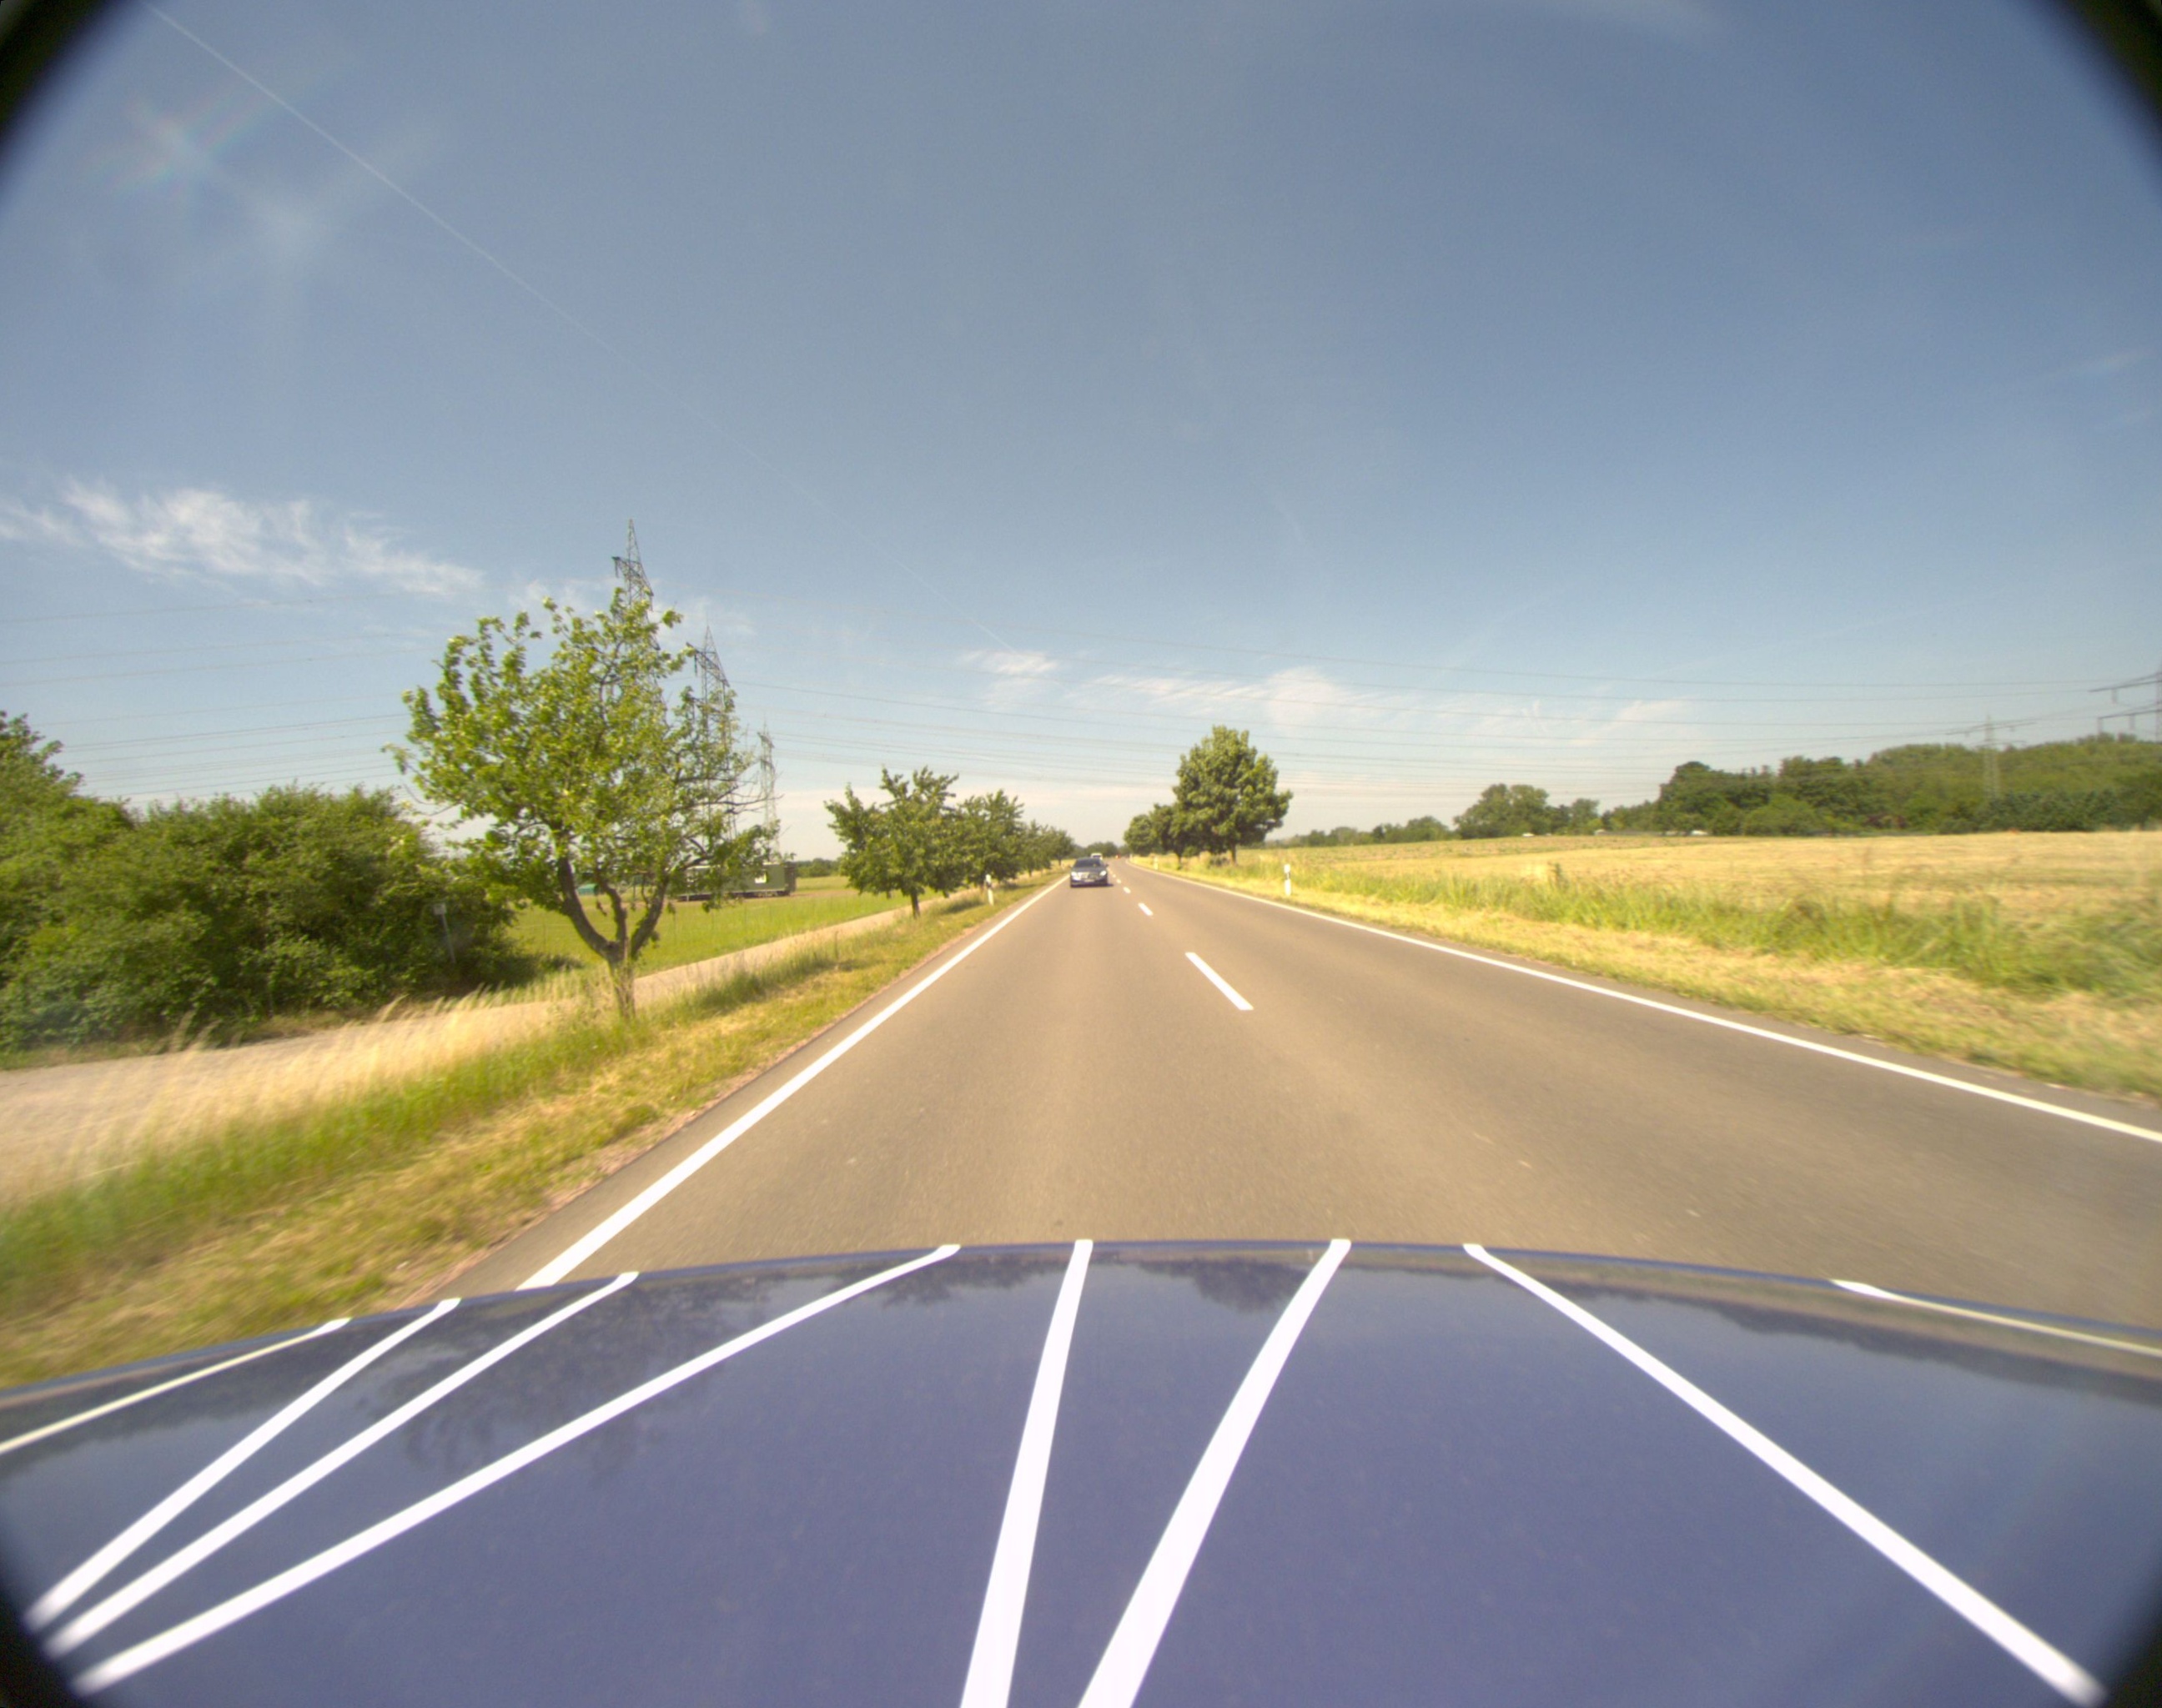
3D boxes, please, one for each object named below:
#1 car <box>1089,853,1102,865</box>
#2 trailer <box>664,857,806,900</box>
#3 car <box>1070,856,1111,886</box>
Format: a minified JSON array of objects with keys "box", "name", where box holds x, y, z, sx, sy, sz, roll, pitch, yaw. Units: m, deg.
[{"box":[2.379,0.769,123.857,1.998,1.907,4.206,-3,0,1],"name":"car"},{"box":[-34.783,2.441,76.762,12.441,3.452,3.805,-3,0,1],"name":"trailer"},{"box":[0.451,0.839,38.893,1.954,1.391,3.999,-1,0,0],"name":"car"}]
